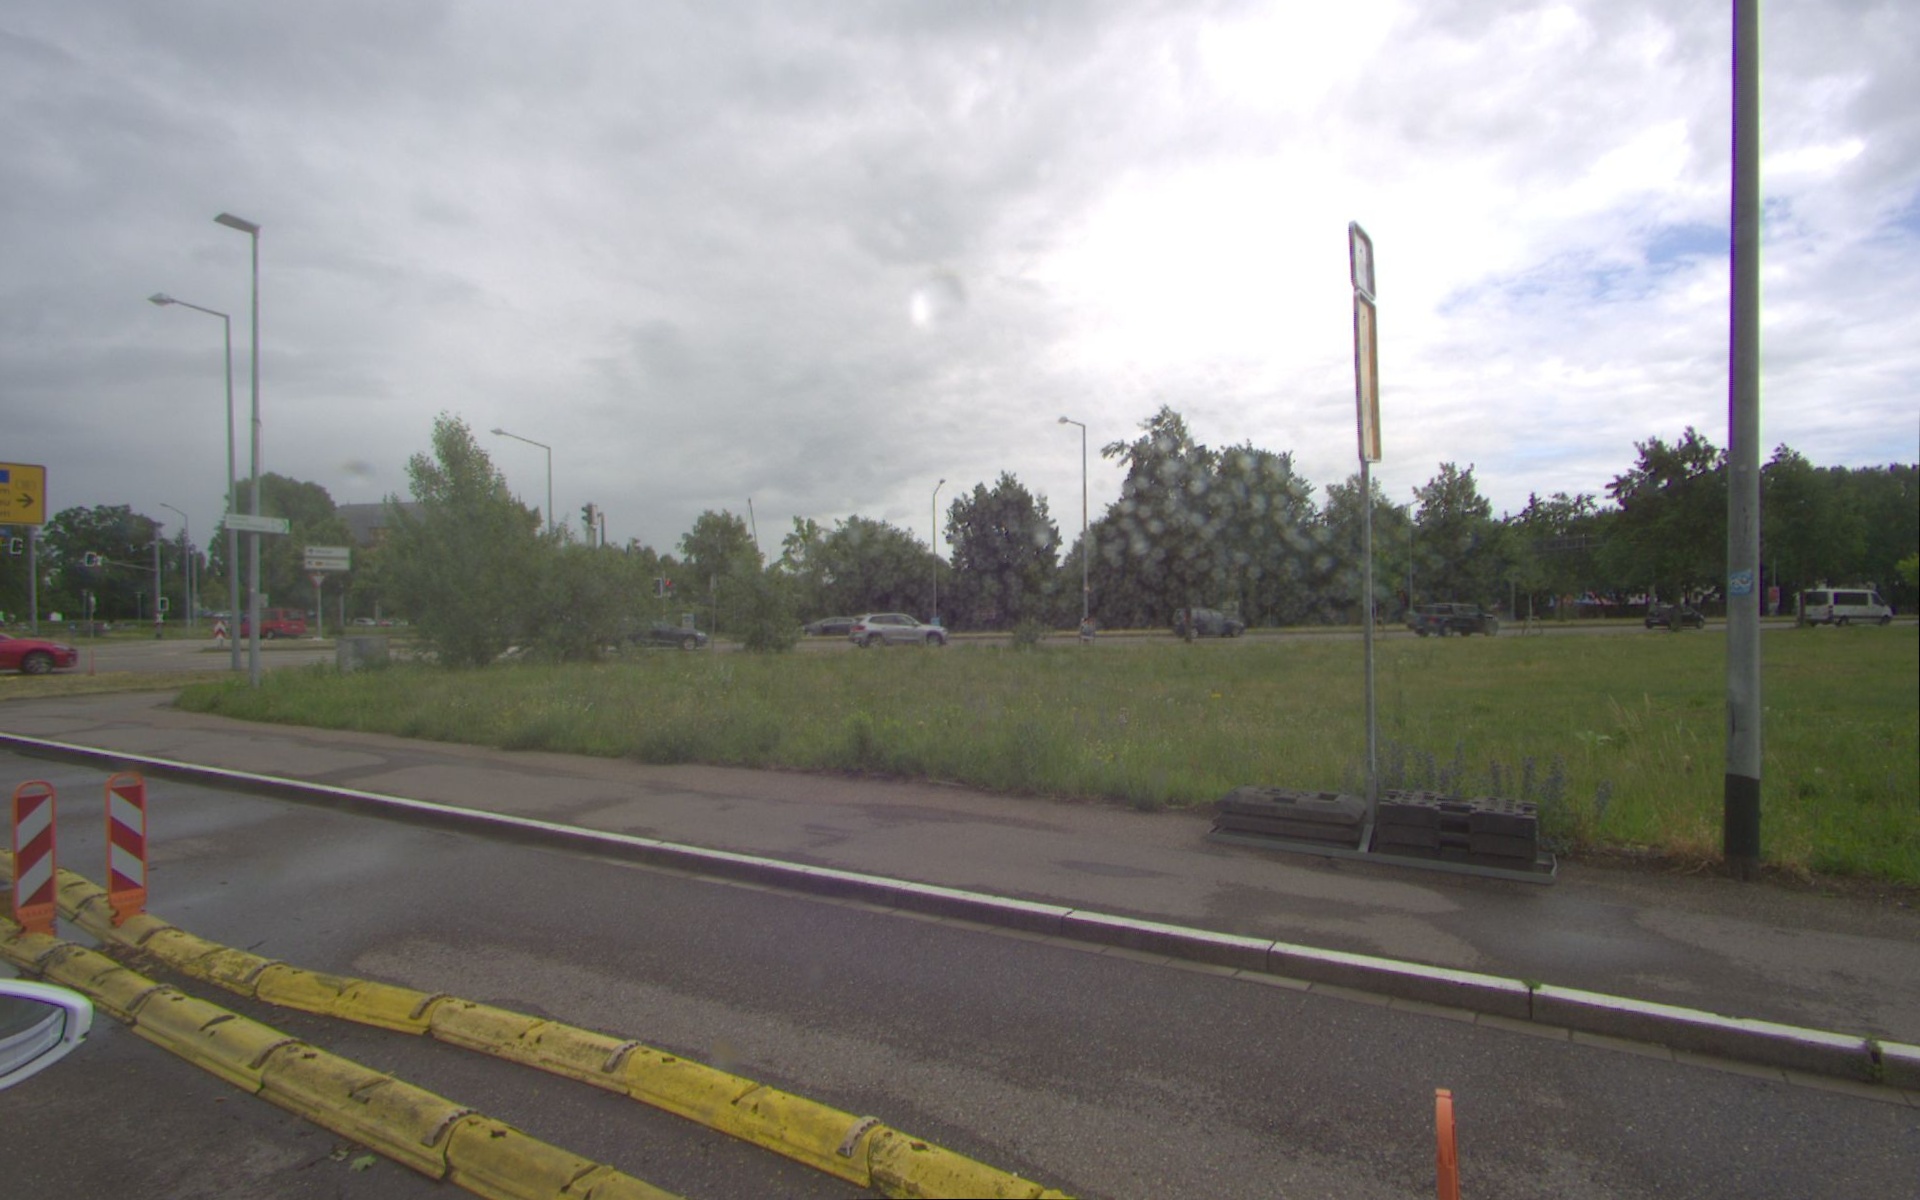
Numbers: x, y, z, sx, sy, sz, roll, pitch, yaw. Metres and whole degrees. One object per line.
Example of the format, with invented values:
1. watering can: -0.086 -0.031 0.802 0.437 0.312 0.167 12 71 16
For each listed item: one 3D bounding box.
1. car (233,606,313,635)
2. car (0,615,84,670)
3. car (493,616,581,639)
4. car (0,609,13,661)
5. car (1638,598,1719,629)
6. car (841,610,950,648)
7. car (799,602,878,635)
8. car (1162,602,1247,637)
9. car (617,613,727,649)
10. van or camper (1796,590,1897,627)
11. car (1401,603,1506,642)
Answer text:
1. car: -47.057 1.406 68.606 4.804 1.943 2.111 0 0 19
2. car: -26.824 1.158 27.157 1.975 1.483 4.327 0 0 38
3. car: -25.898 1.680 61.425 4.667 1.314 1.998 0 0 -12
4. car: -29.897 1.029 28.595 1.977 1.528 3.968 0 0 40
5. car: 44.401 0.829 61.899 3.927 1.873 1.997 0 0 -14
6. car: -2.863 1.238 44.222 4.453 1.604 1.996 0 0 -18
7. car: -7.726 1.155 63.439 4.849 2.040 1.998 0 0 -12
8. car: 13.525 1.064 55.484 4.131 1.837 2.075 0 0 -13
9. car: -12.589 1.331 43.870 4.265 1.483 1.987 0 0 -34
10. van or camper: 53.936 0.496 60.912 5.453 2.143 1.997 0 0 -16
11. car: 26.720 1.194 54.240 4.953 1.998 2.219 0 0 -17
